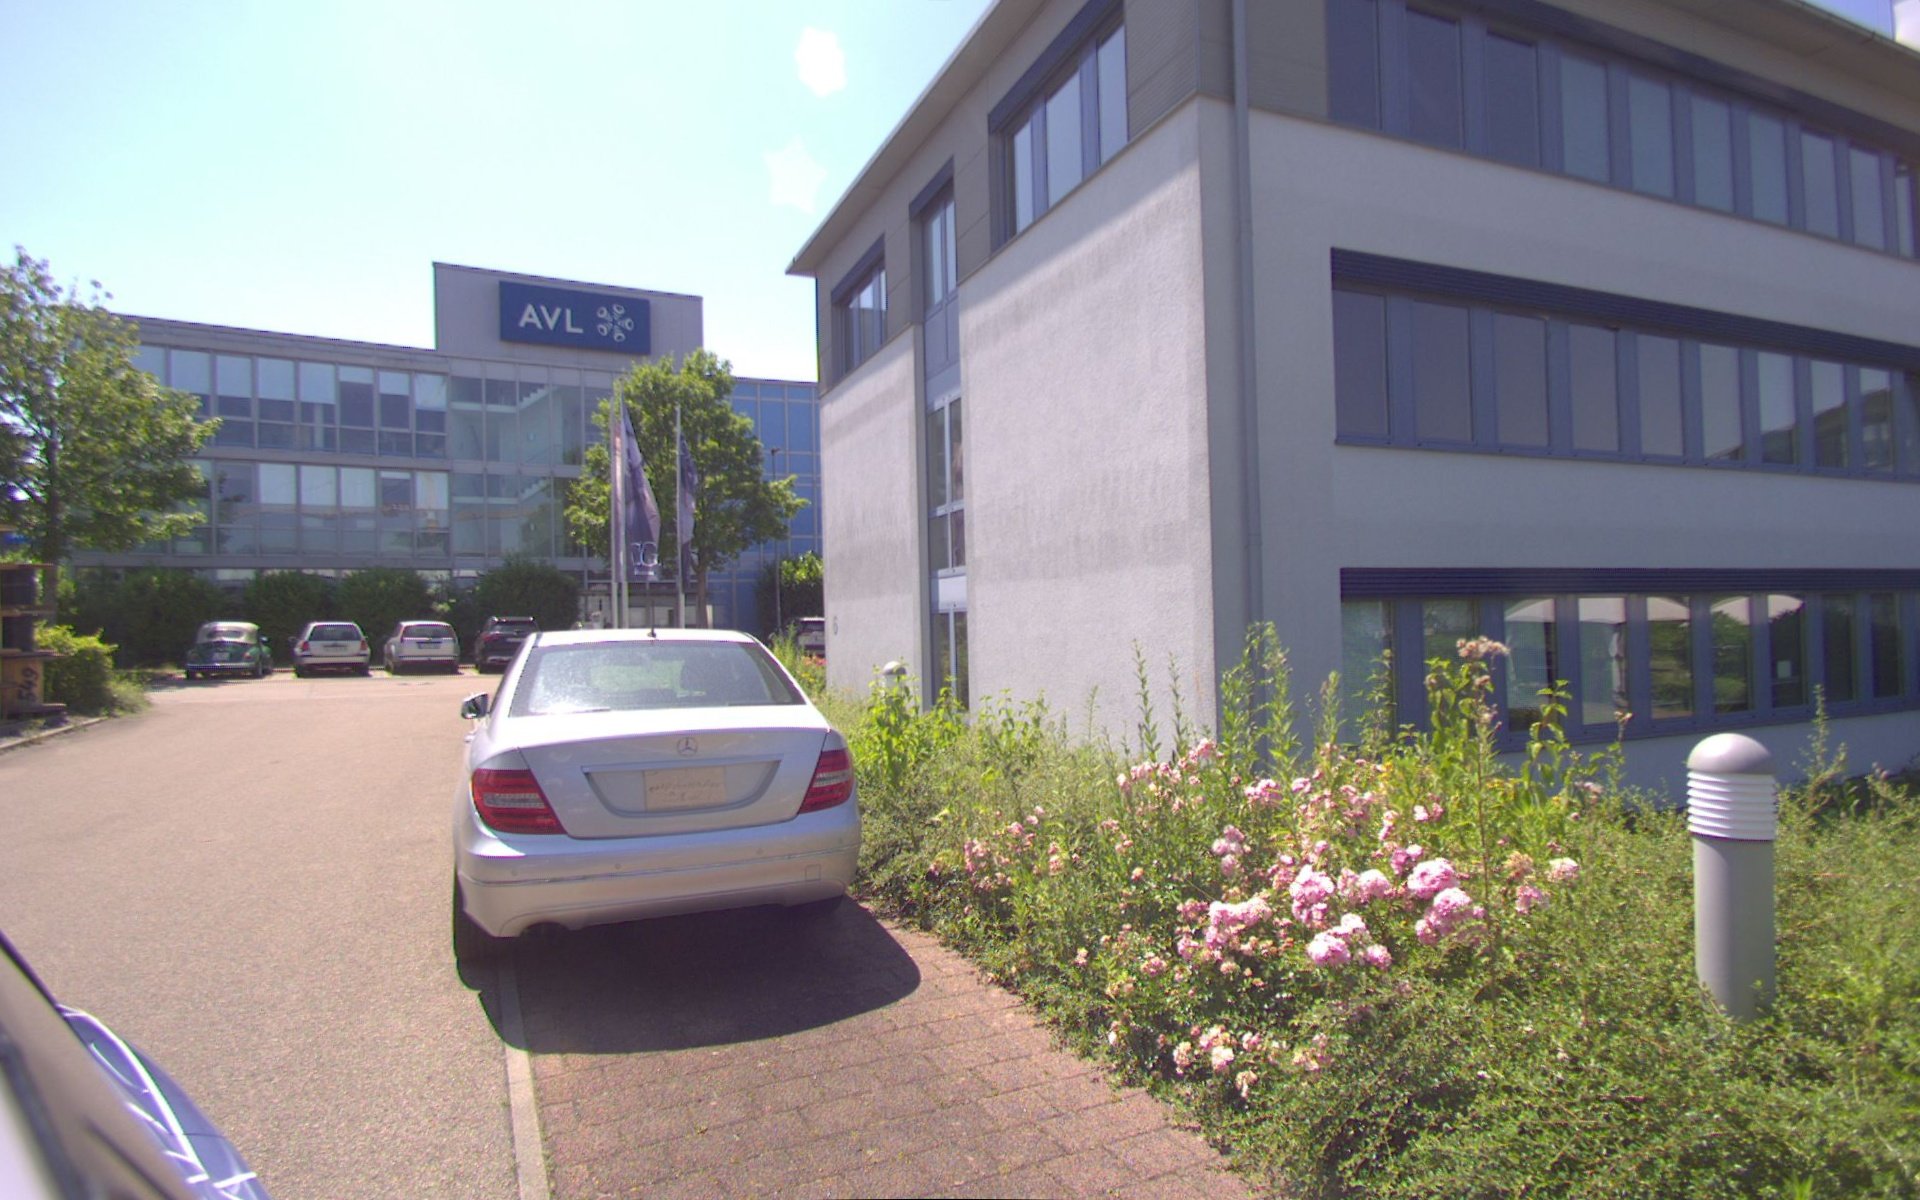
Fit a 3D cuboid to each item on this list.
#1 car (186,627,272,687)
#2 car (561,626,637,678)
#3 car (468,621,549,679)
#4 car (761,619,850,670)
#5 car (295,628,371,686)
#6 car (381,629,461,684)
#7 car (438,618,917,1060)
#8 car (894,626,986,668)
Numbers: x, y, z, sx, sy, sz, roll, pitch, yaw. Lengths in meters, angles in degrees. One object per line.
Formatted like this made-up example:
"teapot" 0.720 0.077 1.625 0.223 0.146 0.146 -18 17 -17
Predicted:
"car" -19.402 1.476 26.966 1.497 1.457 3.429 2 -2 -30
"car" -11.378 1.568 31.725 1.701 1.495 4.411 0 -1 -27
"car" -13.715 1.464 30.641 1.906 1.615 3.872 1 -1 -28
"car" -5.386 1.493 34.914 1.802 1.650 4.185 1 -2 -27
"car" -17.487 1.530 28.161 1.615 1.463 3.610 2 -2 -34
"car" -15.866 1.602 29.704 1.703 1.463 3.610 1 -1 -34
"car" -1.794 0.848 5.627 1.704 1.468 4.161 1 -2 -24
"car" -0.788 1.647 36.536 1.722 1.411 4.185 1 -2 -25
